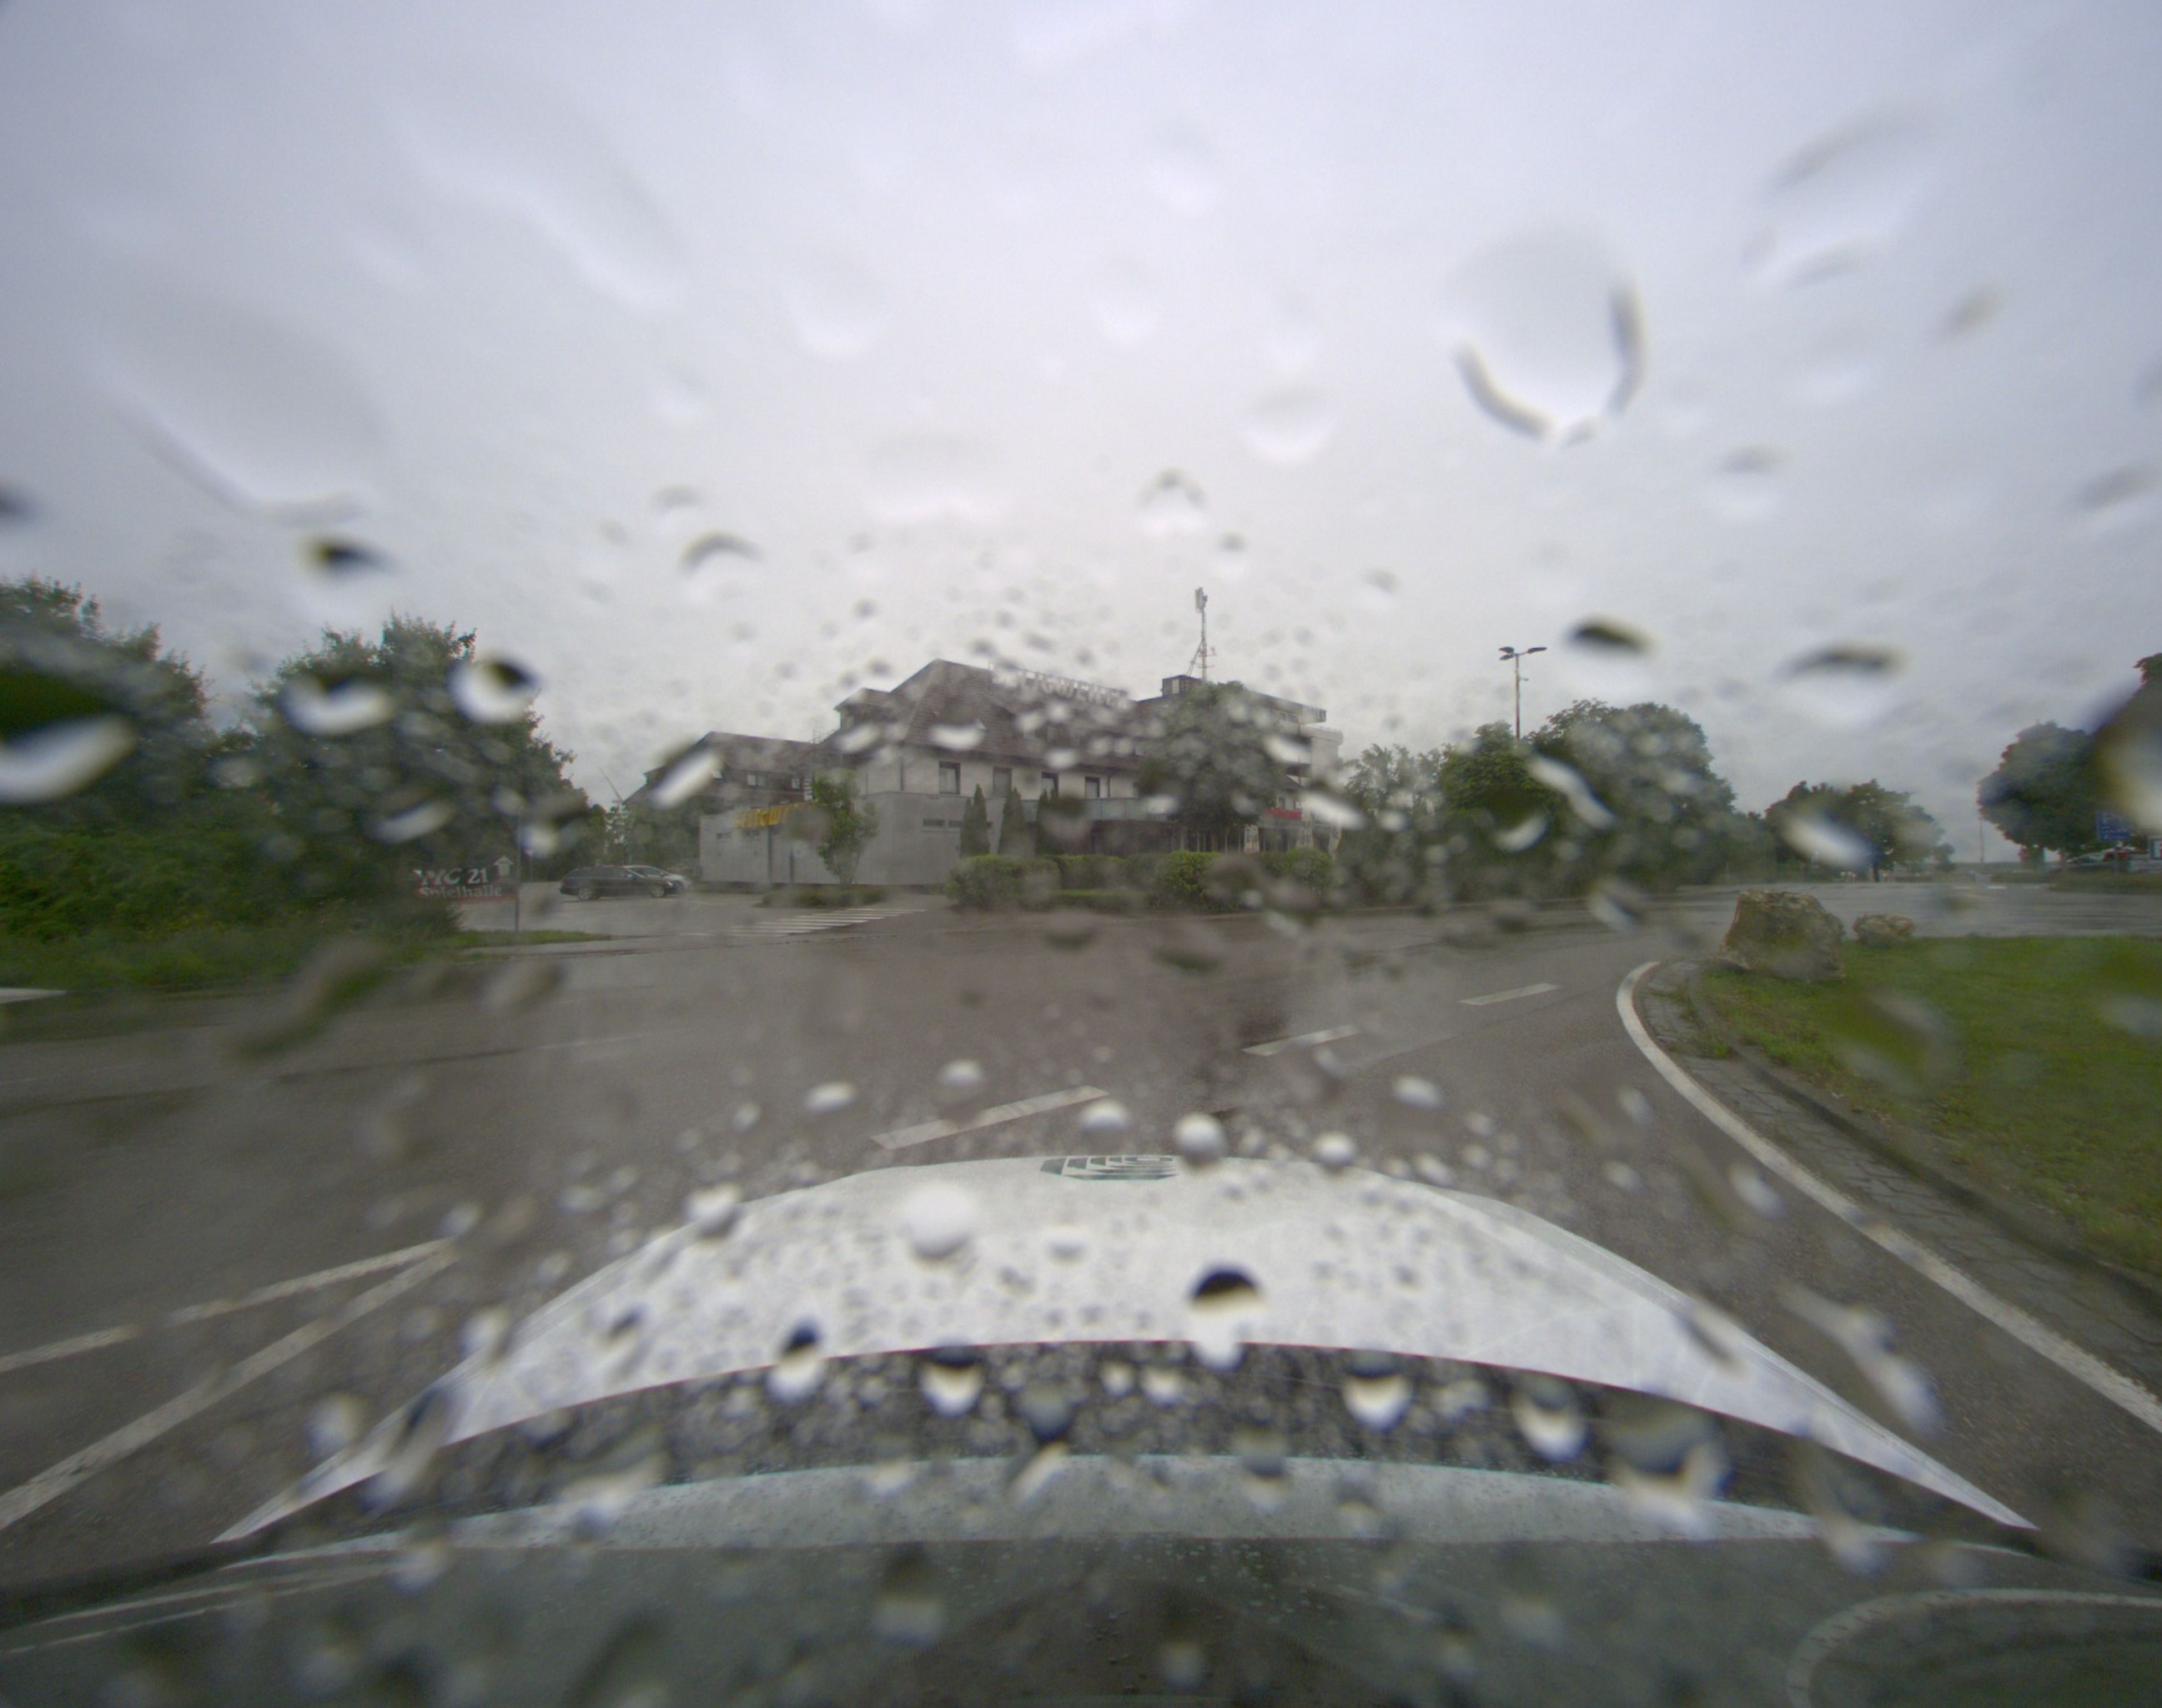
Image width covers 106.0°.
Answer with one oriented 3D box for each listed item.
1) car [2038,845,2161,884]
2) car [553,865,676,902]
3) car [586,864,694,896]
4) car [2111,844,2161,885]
[{"bbox_3d":[47.905,0.541,38.103,1.707,1.716,4.031,1,-2,5],"label":"car"},{"bbox_3d":[-20.120,1.261,35.332,4.362,1.425,1.694,-1,0,-21],"label":"car"},{"bbox_3d":[-21.801,1.266,40.352,1.827,1.425,4.386,-2,-1,45],"label":"car"},{"bbox_3d":[50.995,0.493,37.529,1.707,1.862,4.374,1,-2,5],"label":"car"}]
